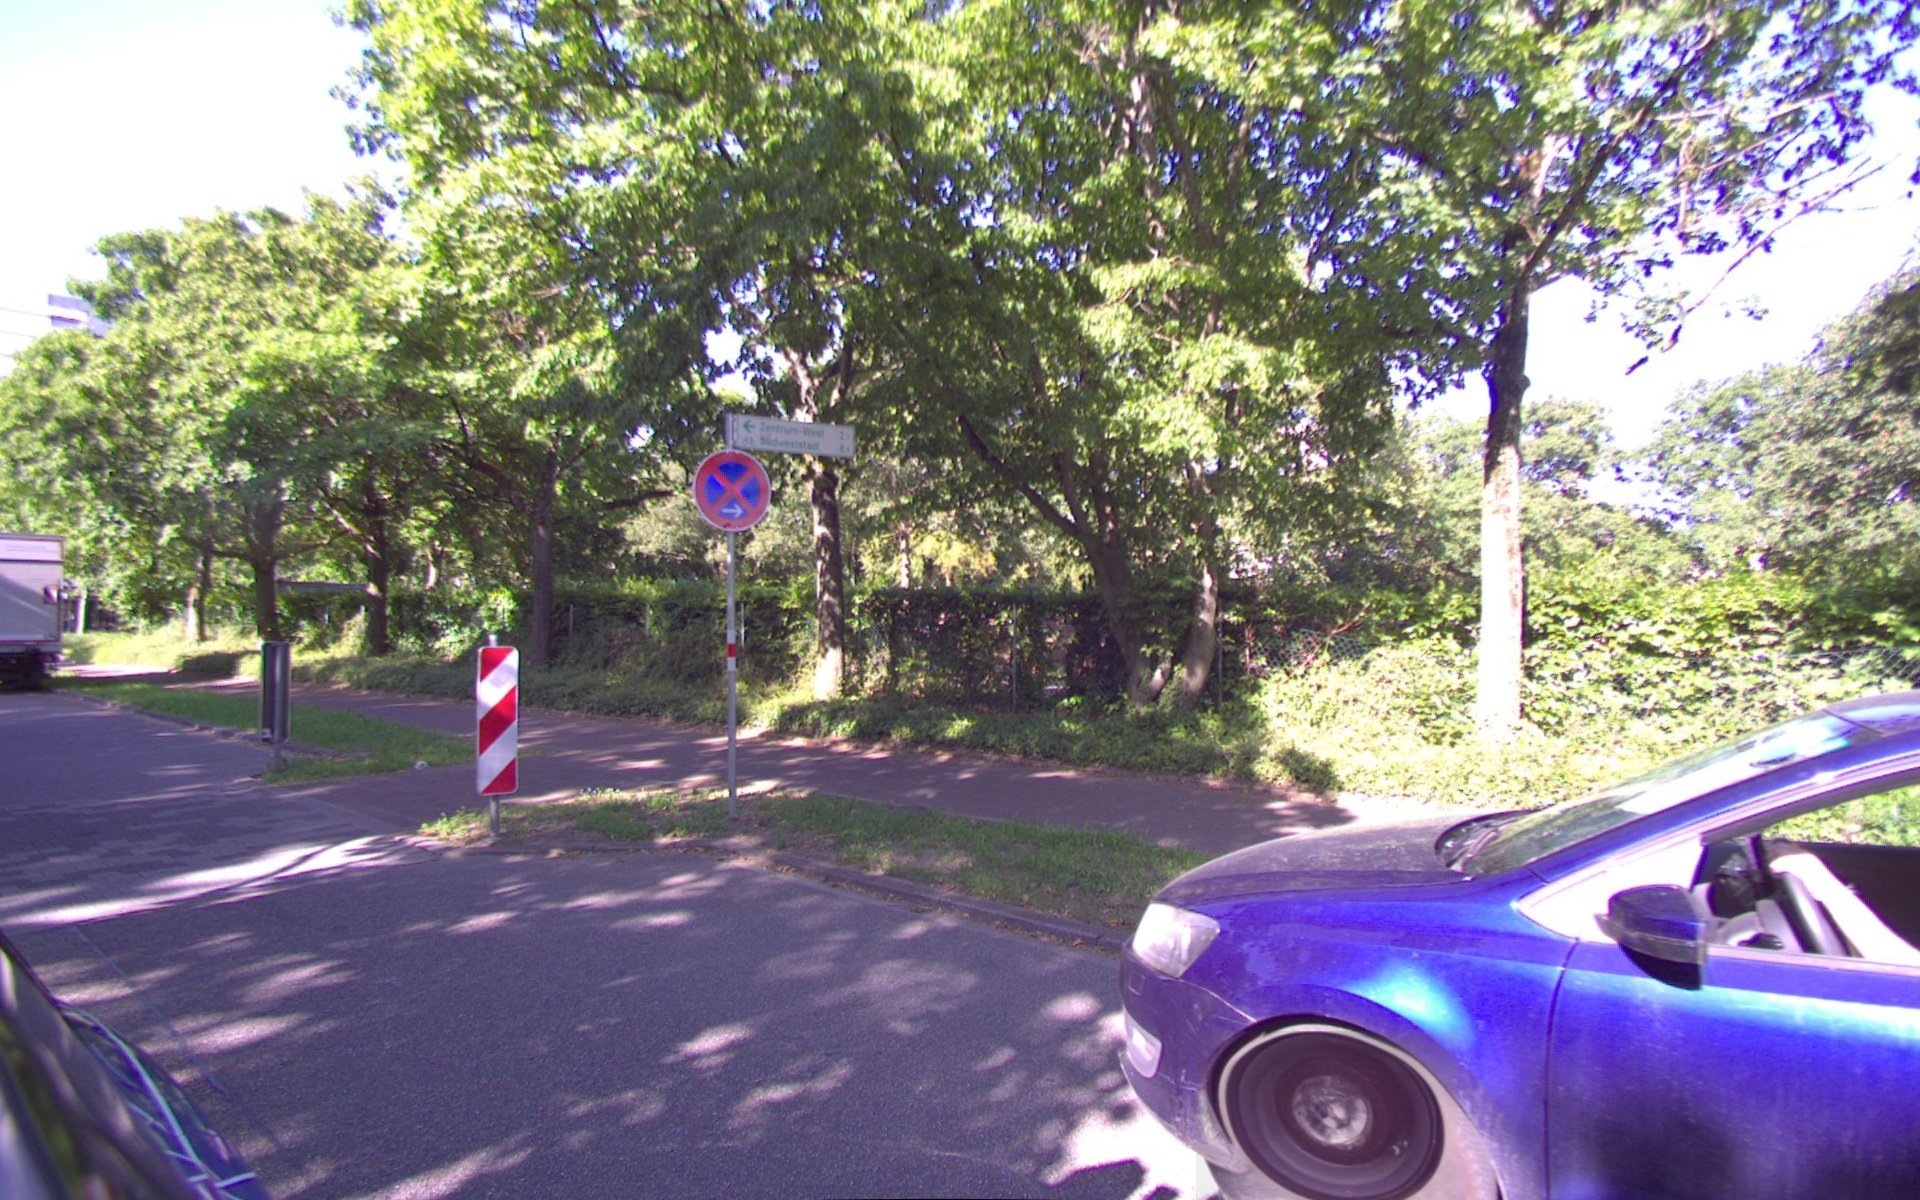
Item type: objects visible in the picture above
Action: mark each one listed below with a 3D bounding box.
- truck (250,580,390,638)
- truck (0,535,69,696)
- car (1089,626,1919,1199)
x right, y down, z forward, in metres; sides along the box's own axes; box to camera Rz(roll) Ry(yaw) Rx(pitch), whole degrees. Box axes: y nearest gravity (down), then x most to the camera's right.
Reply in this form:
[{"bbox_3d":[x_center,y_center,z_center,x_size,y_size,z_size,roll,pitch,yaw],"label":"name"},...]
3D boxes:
[{"bbox_3d":[-24.063,0.410,38.152,2.201,2.029,3.948,-2,-3,38],"label":"truck"},{"bbox_3d":[-25.040,0.427,25.516,8.094,3.669,2.707,-2,-2,40],"label":"truck"},{"bbox_3d":[2.224,0.785,2.035,3.650,1.437,1.584,-2,-3,41],"label":"car"}]
